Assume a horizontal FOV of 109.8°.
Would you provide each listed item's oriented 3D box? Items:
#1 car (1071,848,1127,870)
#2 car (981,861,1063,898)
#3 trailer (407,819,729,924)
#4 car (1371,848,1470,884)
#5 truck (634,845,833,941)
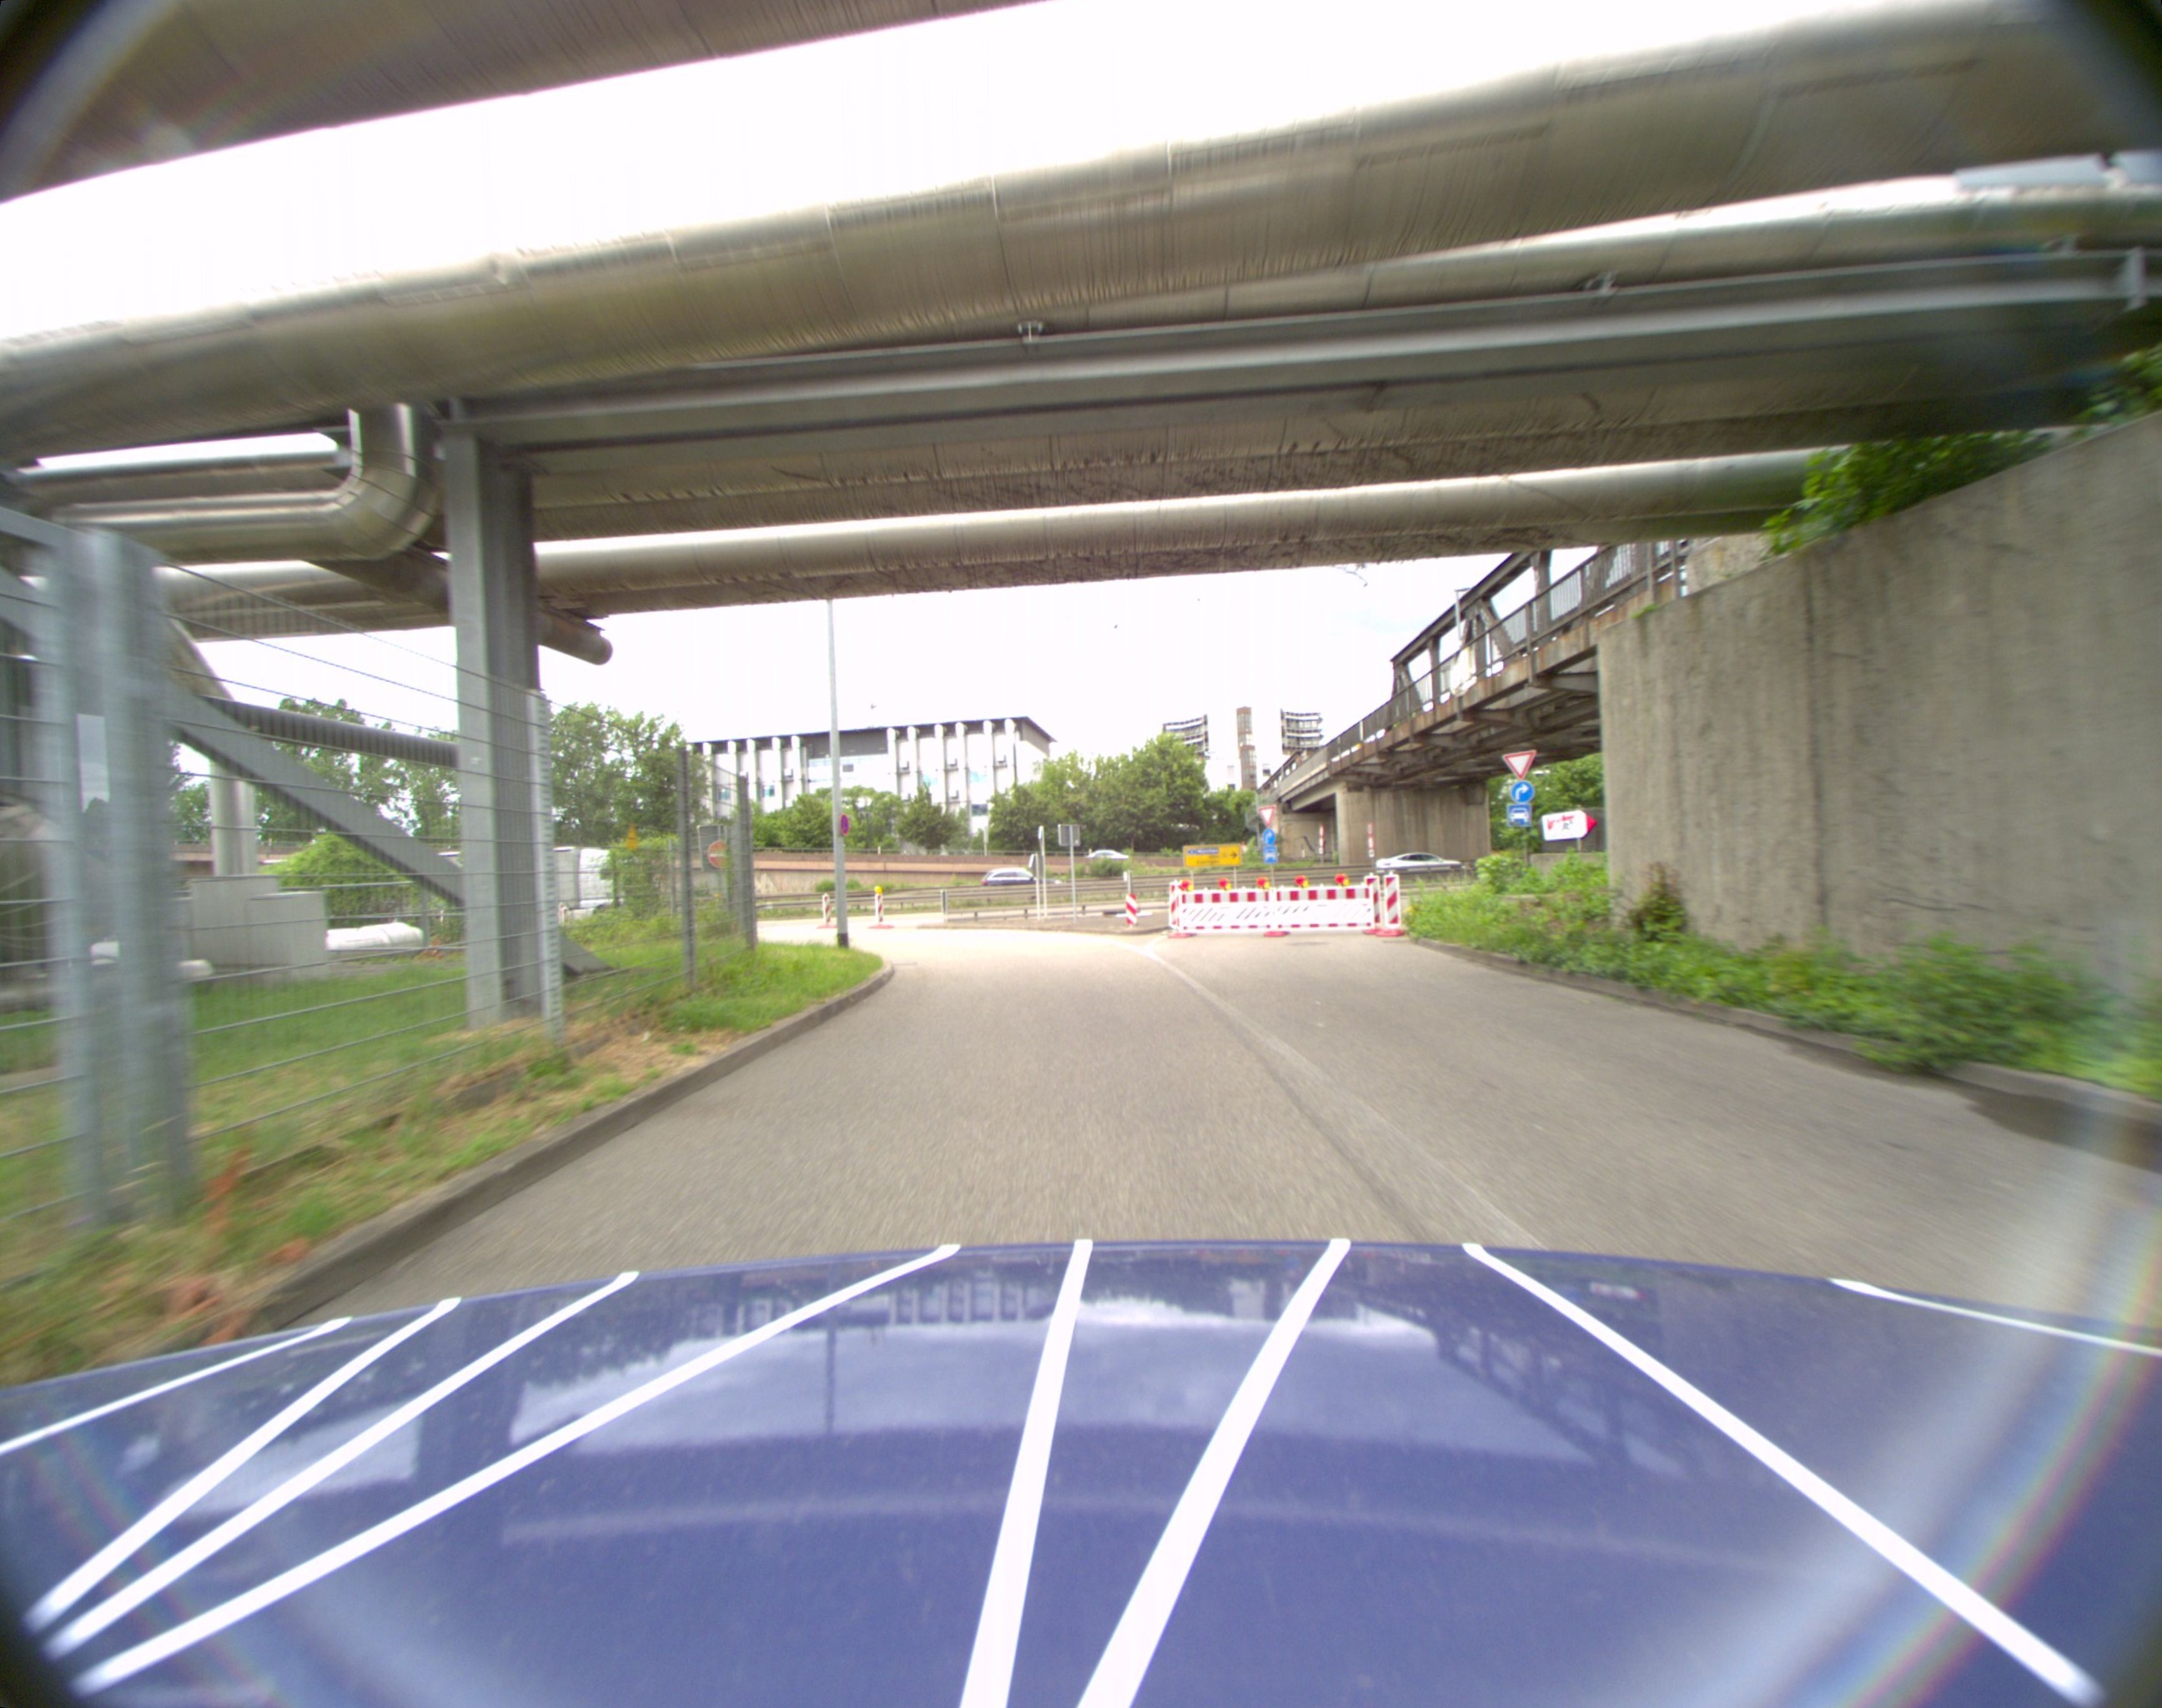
[{"bbox_3d":[1.425,0.371,60.497,4.289,1.503,1.981,-2,2,1],"label":"car"},{"bbox_3d":[-3.169,1.360,41.697,4.289,1.505,1.978,-2,9,0],"label":"car"},{"bbox_3d":[-24.850,0.788,37.408,13.256,4.300,3.165,-3,2,-2],"label":"trailer"},{"bbox_3d":[18.455,0.636,41.411,4.456,1.533,1.999,-4,2,0],"label":"car"},{"bbox_3d":[-17.031,1.823,37.743,8.136,4.108,3.163,-3,2,-2],"label":"truck"}]
